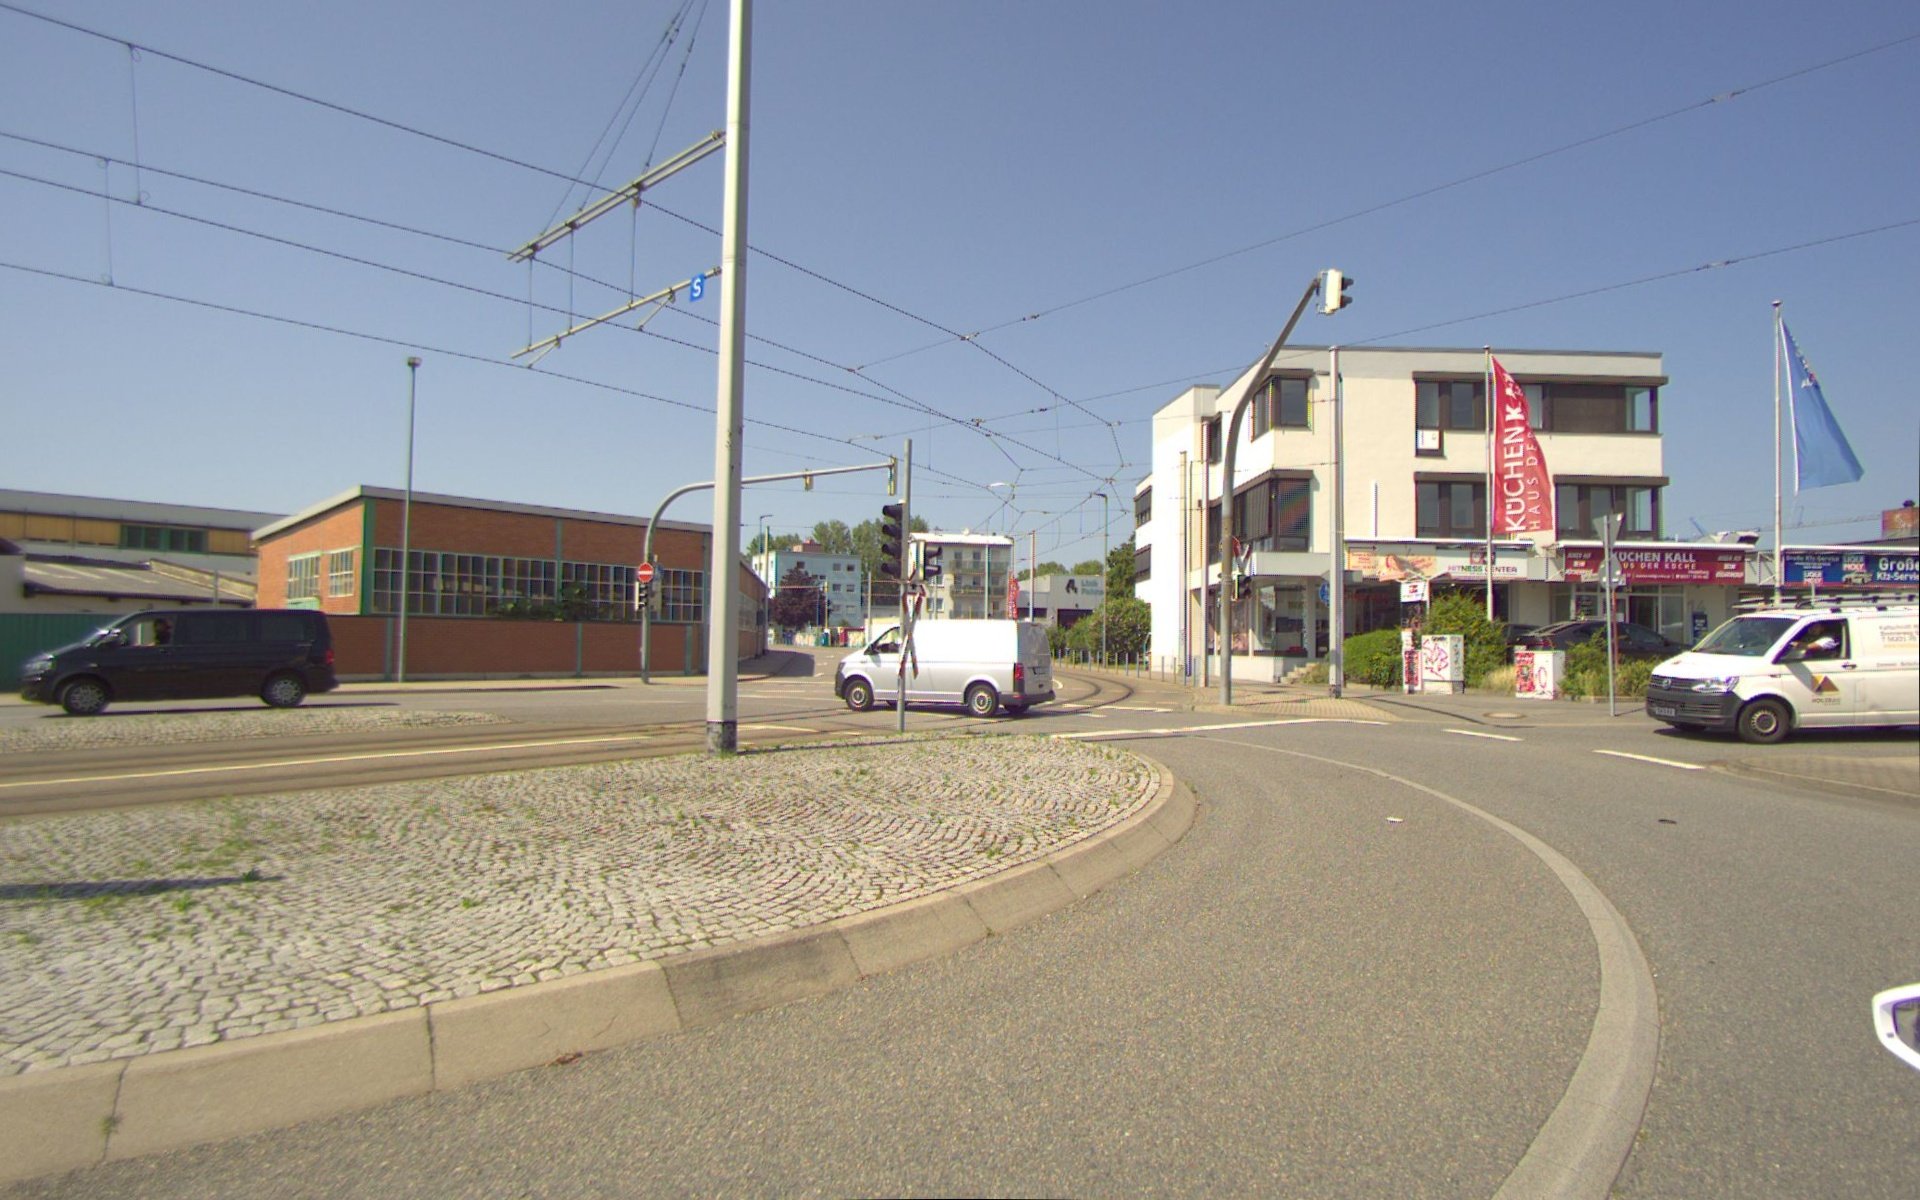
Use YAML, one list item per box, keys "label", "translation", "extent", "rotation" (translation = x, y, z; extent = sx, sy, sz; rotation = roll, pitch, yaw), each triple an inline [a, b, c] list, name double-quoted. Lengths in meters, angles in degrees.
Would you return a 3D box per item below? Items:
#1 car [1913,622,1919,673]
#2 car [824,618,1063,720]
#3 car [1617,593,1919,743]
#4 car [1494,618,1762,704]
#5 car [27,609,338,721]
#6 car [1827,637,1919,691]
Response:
- label: "car"
  translation: [32.382, 1.447, 30.731]
  extent: [4.834, 1.609, 1.886]
  rotation: [0, -4, -4]
- label: "car"
  translation: [-0.382, 1.395, 21.350]
  extent: [4.741, 1.961, 1.931]
  rotation: [-1, -2, 28]
- label: "car"
  translation: [13.229, 0.999, 15.444]
  extent: [4.834, 2.142, 2.029]
  rotation: [-1, -1, 5]
- label: "car"
  translation: [16.095, 1.469, 24.415]
  extent: [5.176, 1.991, 1.966]
  rotation: [0, -2, 0]
- label: "car"
  translation: [-15.009, 1.181, 19.707]
  extent: [4.597, 1.935, 2.076]
  rotation: [1, -2, -38]
- label: "car"
  translation: [27.463, 1.776, 28.411]
  extent: [4.234, 1.445, 2.032]
  rotation: [0, -2, -4]
